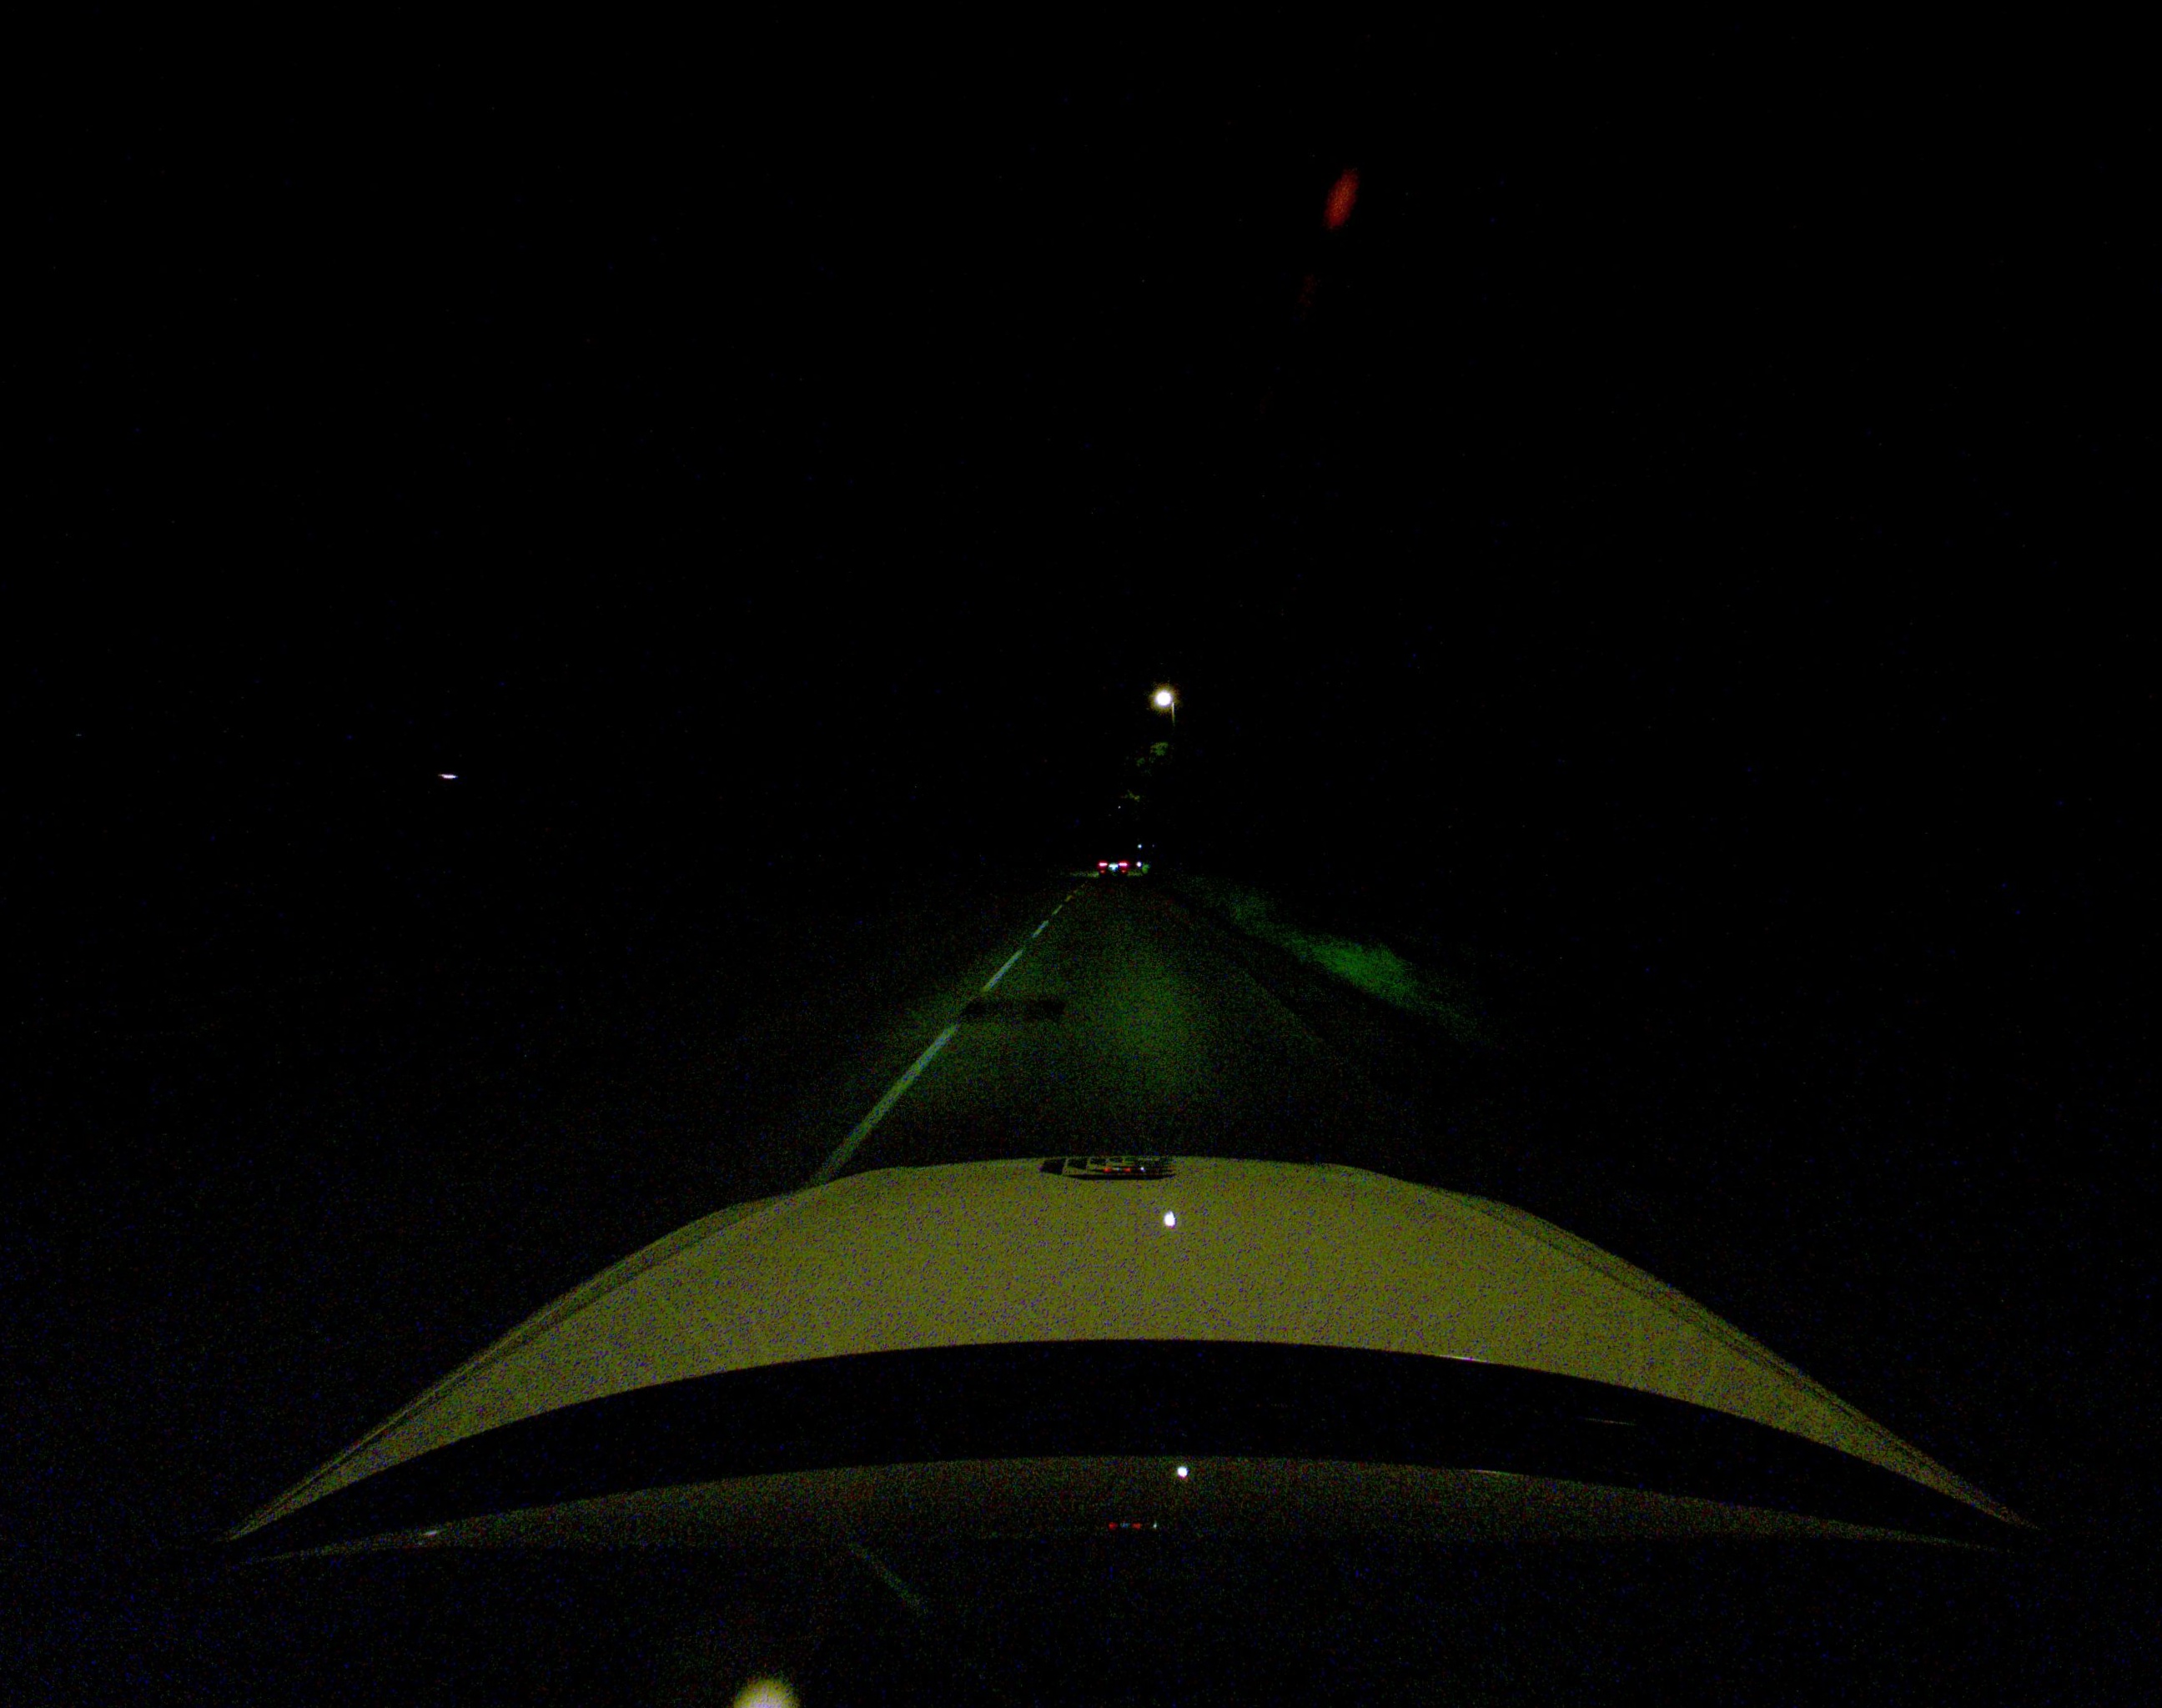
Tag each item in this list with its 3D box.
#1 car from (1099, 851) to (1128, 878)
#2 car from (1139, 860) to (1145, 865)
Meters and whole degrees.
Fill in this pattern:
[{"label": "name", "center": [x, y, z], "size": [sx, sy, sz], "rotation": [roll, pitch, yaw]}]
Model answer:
[{"label": "car", "center": [2.068, 0.630, 51.556], "size": [1.756, 1.642, 3.724], "rotation": [-1, 0, 2]}, {"label": "car", "center": [17.558, 2.450, 235.010], "size": [1.680, 1.457, 4.005], "rotation": [0, -1, 4]}]
